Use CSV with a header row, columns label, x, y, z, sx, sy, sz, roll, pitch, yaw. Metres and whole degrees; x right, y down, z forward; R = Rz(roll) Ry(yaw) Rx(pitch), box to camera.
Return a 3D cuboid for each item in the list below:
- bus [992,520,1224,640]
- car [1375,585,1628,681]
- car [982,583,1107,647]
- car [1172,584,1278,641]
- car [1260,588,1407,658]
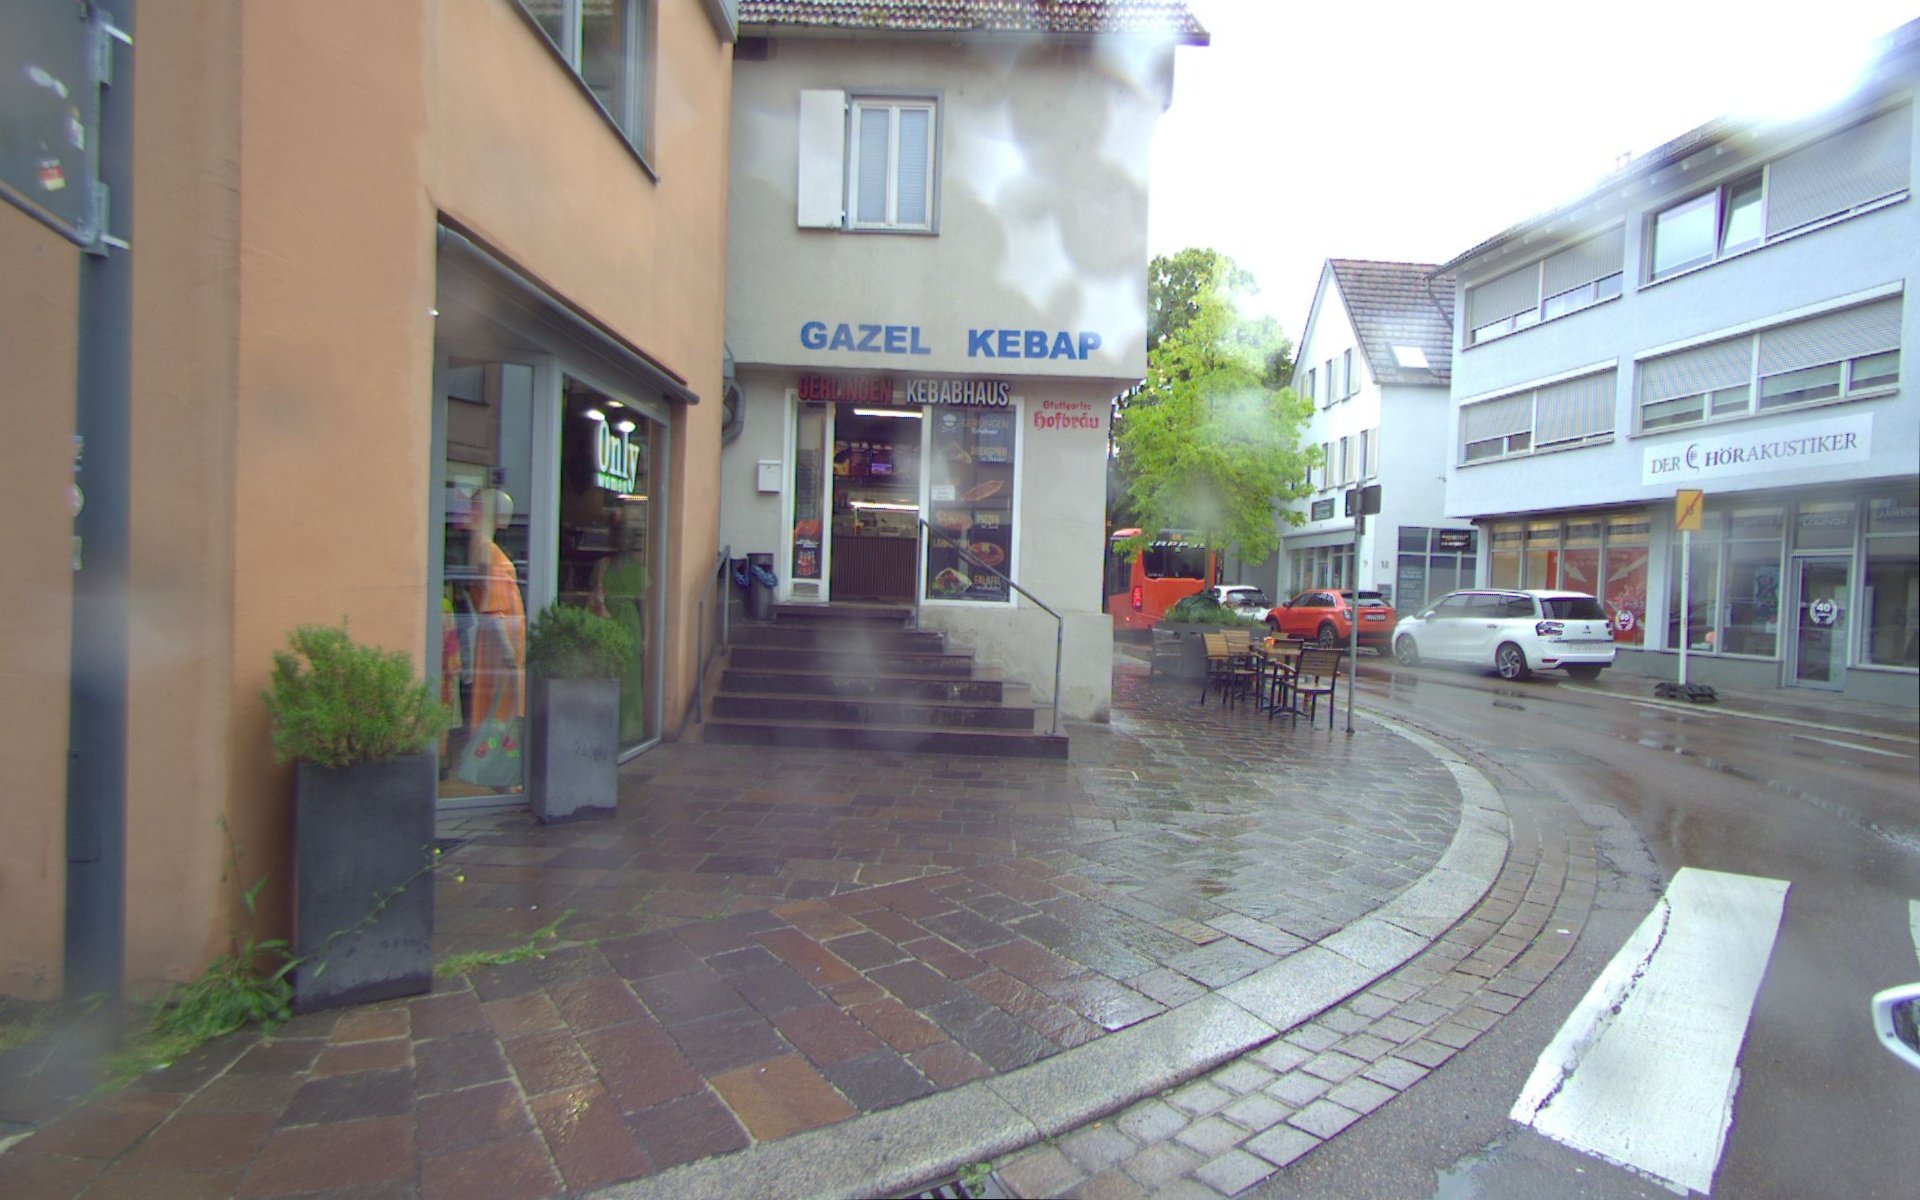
label,x,y,z,sx,sy,sz,roll,pitch,yaw
bus,4.135,-0.684,31.697,2.777,3.130,10.562,0,2,-18
car,10.364,0.587,19.680,1.752,1.652,4.454,2,0,-16
car,2.169,0.342,26.955,1.702,1.433,3.960,3,1,-22
car,7.989,0.334,30.665,1.652,1.549,3.791,1,2,-10
car,9.150,0.501,24.958,1.653,1.549,3.790,1,1,-12
